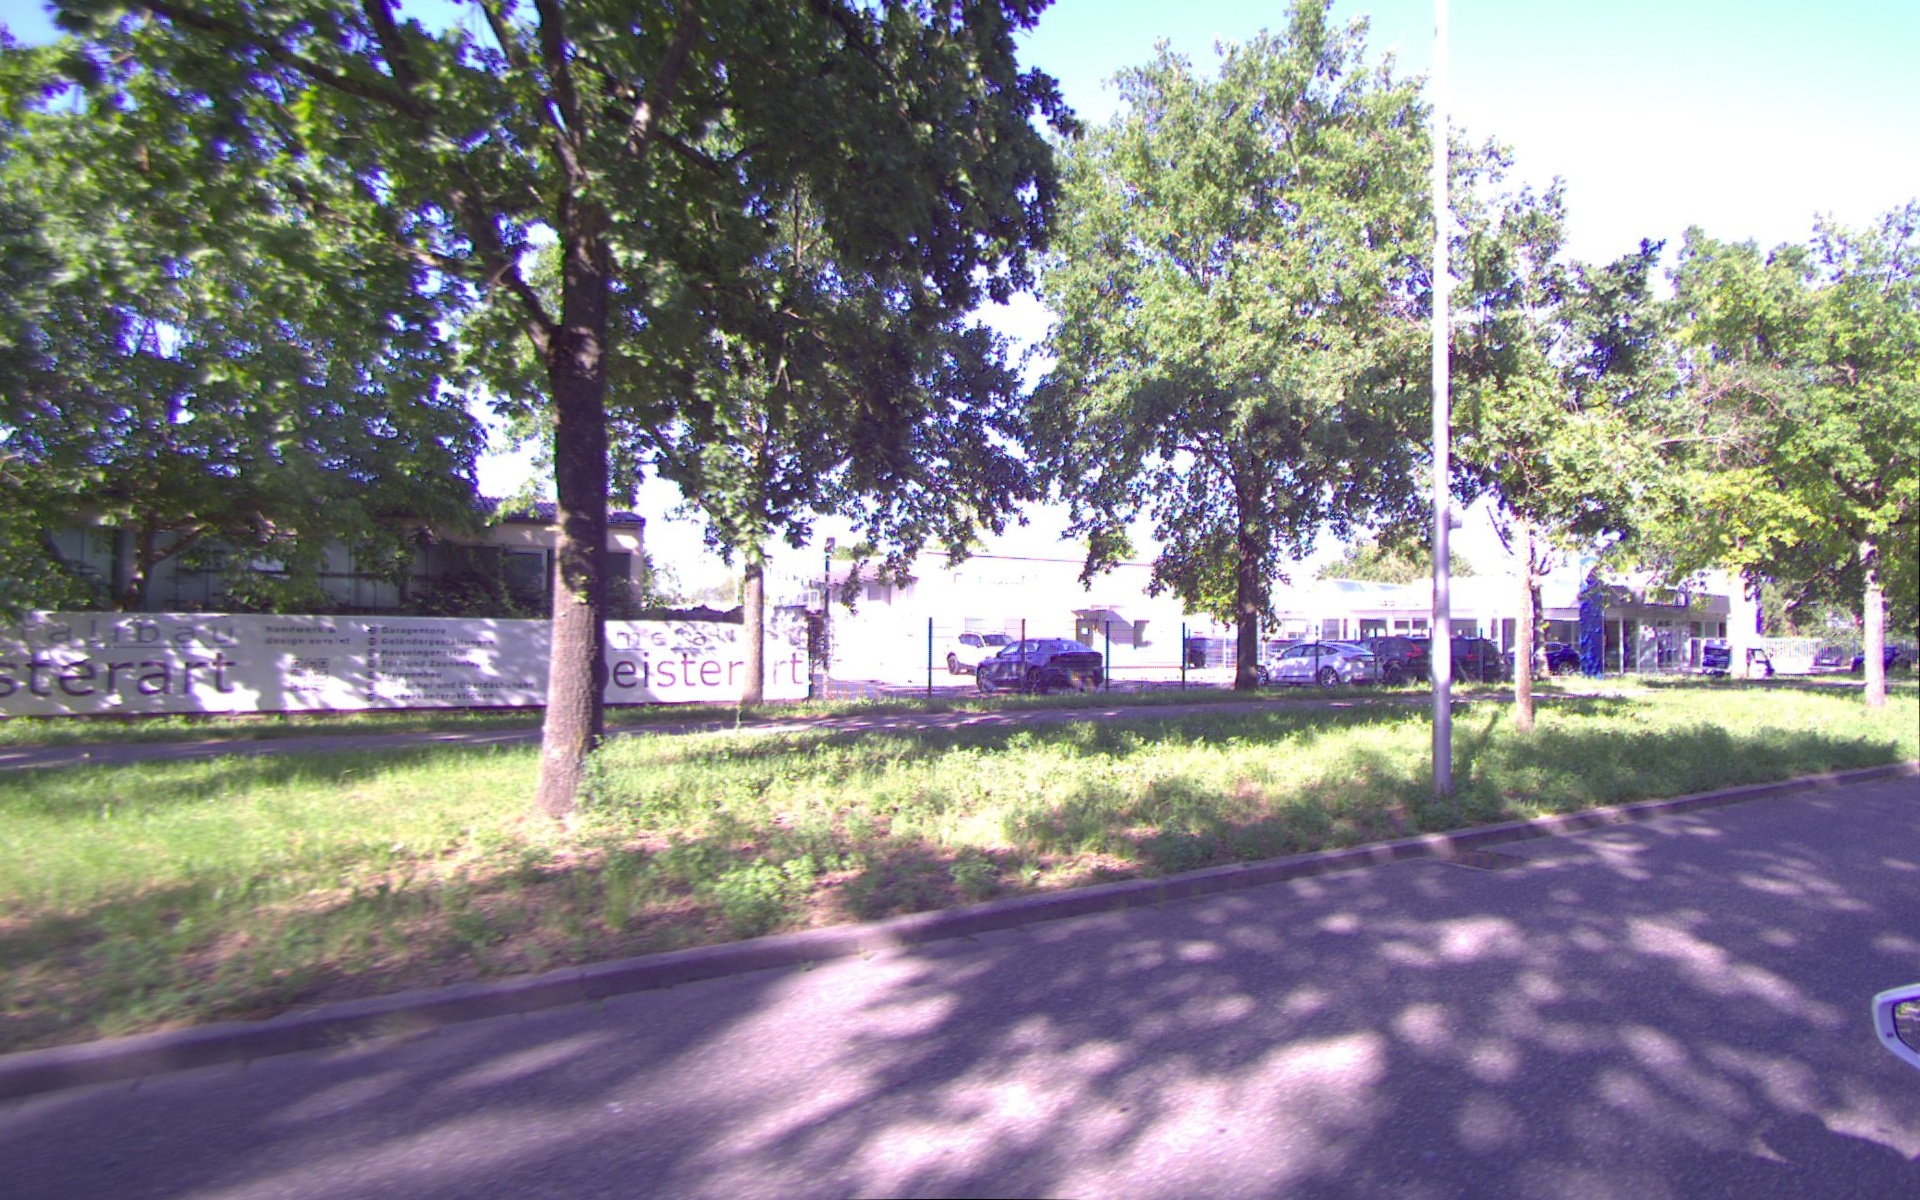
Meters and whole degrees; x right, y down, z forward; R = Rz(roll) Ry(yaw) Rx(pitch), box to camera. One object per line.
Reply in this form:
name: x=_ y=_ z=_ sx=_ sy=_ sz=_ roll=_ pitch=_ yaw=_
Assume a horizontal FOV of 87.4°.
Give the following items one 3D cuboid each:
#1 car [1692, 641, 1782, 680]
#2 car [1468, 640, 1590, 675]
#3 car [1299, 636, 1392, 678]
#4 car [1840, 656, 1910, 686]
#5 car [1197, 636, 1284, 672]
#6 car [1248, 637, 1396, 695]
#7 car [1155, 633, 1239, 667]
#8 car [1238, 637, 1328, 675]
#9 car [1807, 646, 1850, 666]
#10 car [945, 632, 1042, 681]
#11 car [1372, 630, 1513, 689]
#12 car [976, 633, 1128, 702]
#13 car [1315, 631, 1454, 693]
car: x=31.549 y=2.432 z=40.862 sx=1.402 sy=1.489 sz=2.568 roll=1 pitch=-2 yaw=-15
car: x=29.609 y=2.975 z=52.389 sx=5.153 sy=1.683 sz=2.001 roll=0 pitch=-1 yaw=6
car: x=17.678 y=2.559 z=45.940 sx=5.226 sy=1.712 sz=1.973 roll=2 pitch=-1 yaw=-45
car: x=54.664 y=4.205 z=59.985 sx=4.963 sy=1.619 sz=1.981 roll=2 pitch=0 yaw=-34
car: x=14.571 y=2.734 z=51.989 sx=5.226 sy=1.683 sz=1.973 roll=2 pitch=-1 yaw=-45
car: x=11.461 y=2.058 z=32.055 sx=1.839 sy=1.539 sz=4.291 roll=2 pitch=0 yaw=-29
car: x=12.932 y=2.706 z=54.641 sx=5.226 sy=1.683 sz=1.973 roll=2 pitch=-1 yaw=-45
car: x=15.689 y=2.673 z=48.613 sx=5.226 sy=1.683 sz=1.973 roll=2 pitch=-1 yaw=-45
car: x=73.349 y=4.686 z=84.787 sx=4.844 sy=1.587 sz=1.977 roll=2 pitch=0 yaw=-40
car: x=1.158 y=2.041 z=36.819 sx=1.730 sy=1.539 sz=3.969 roll=2 pitch=0 yaw=-29
car: x=16.628 y=2.008 z=34.796 sx=1.975 sy=1.765 sz=3.970 roll=2 pitch=0 yaw=-28
car: x=2.381 y=1.744 z=26.959 sx=2.172 sy=1.539 sz=3.969 roll=2 pitch=0 yaw=-29
car: x=14.067 y=2.013 z=33.497 sx=1.839 sy=1.769 sz=3.969 roll=2 pitch=0 yaw=-29
